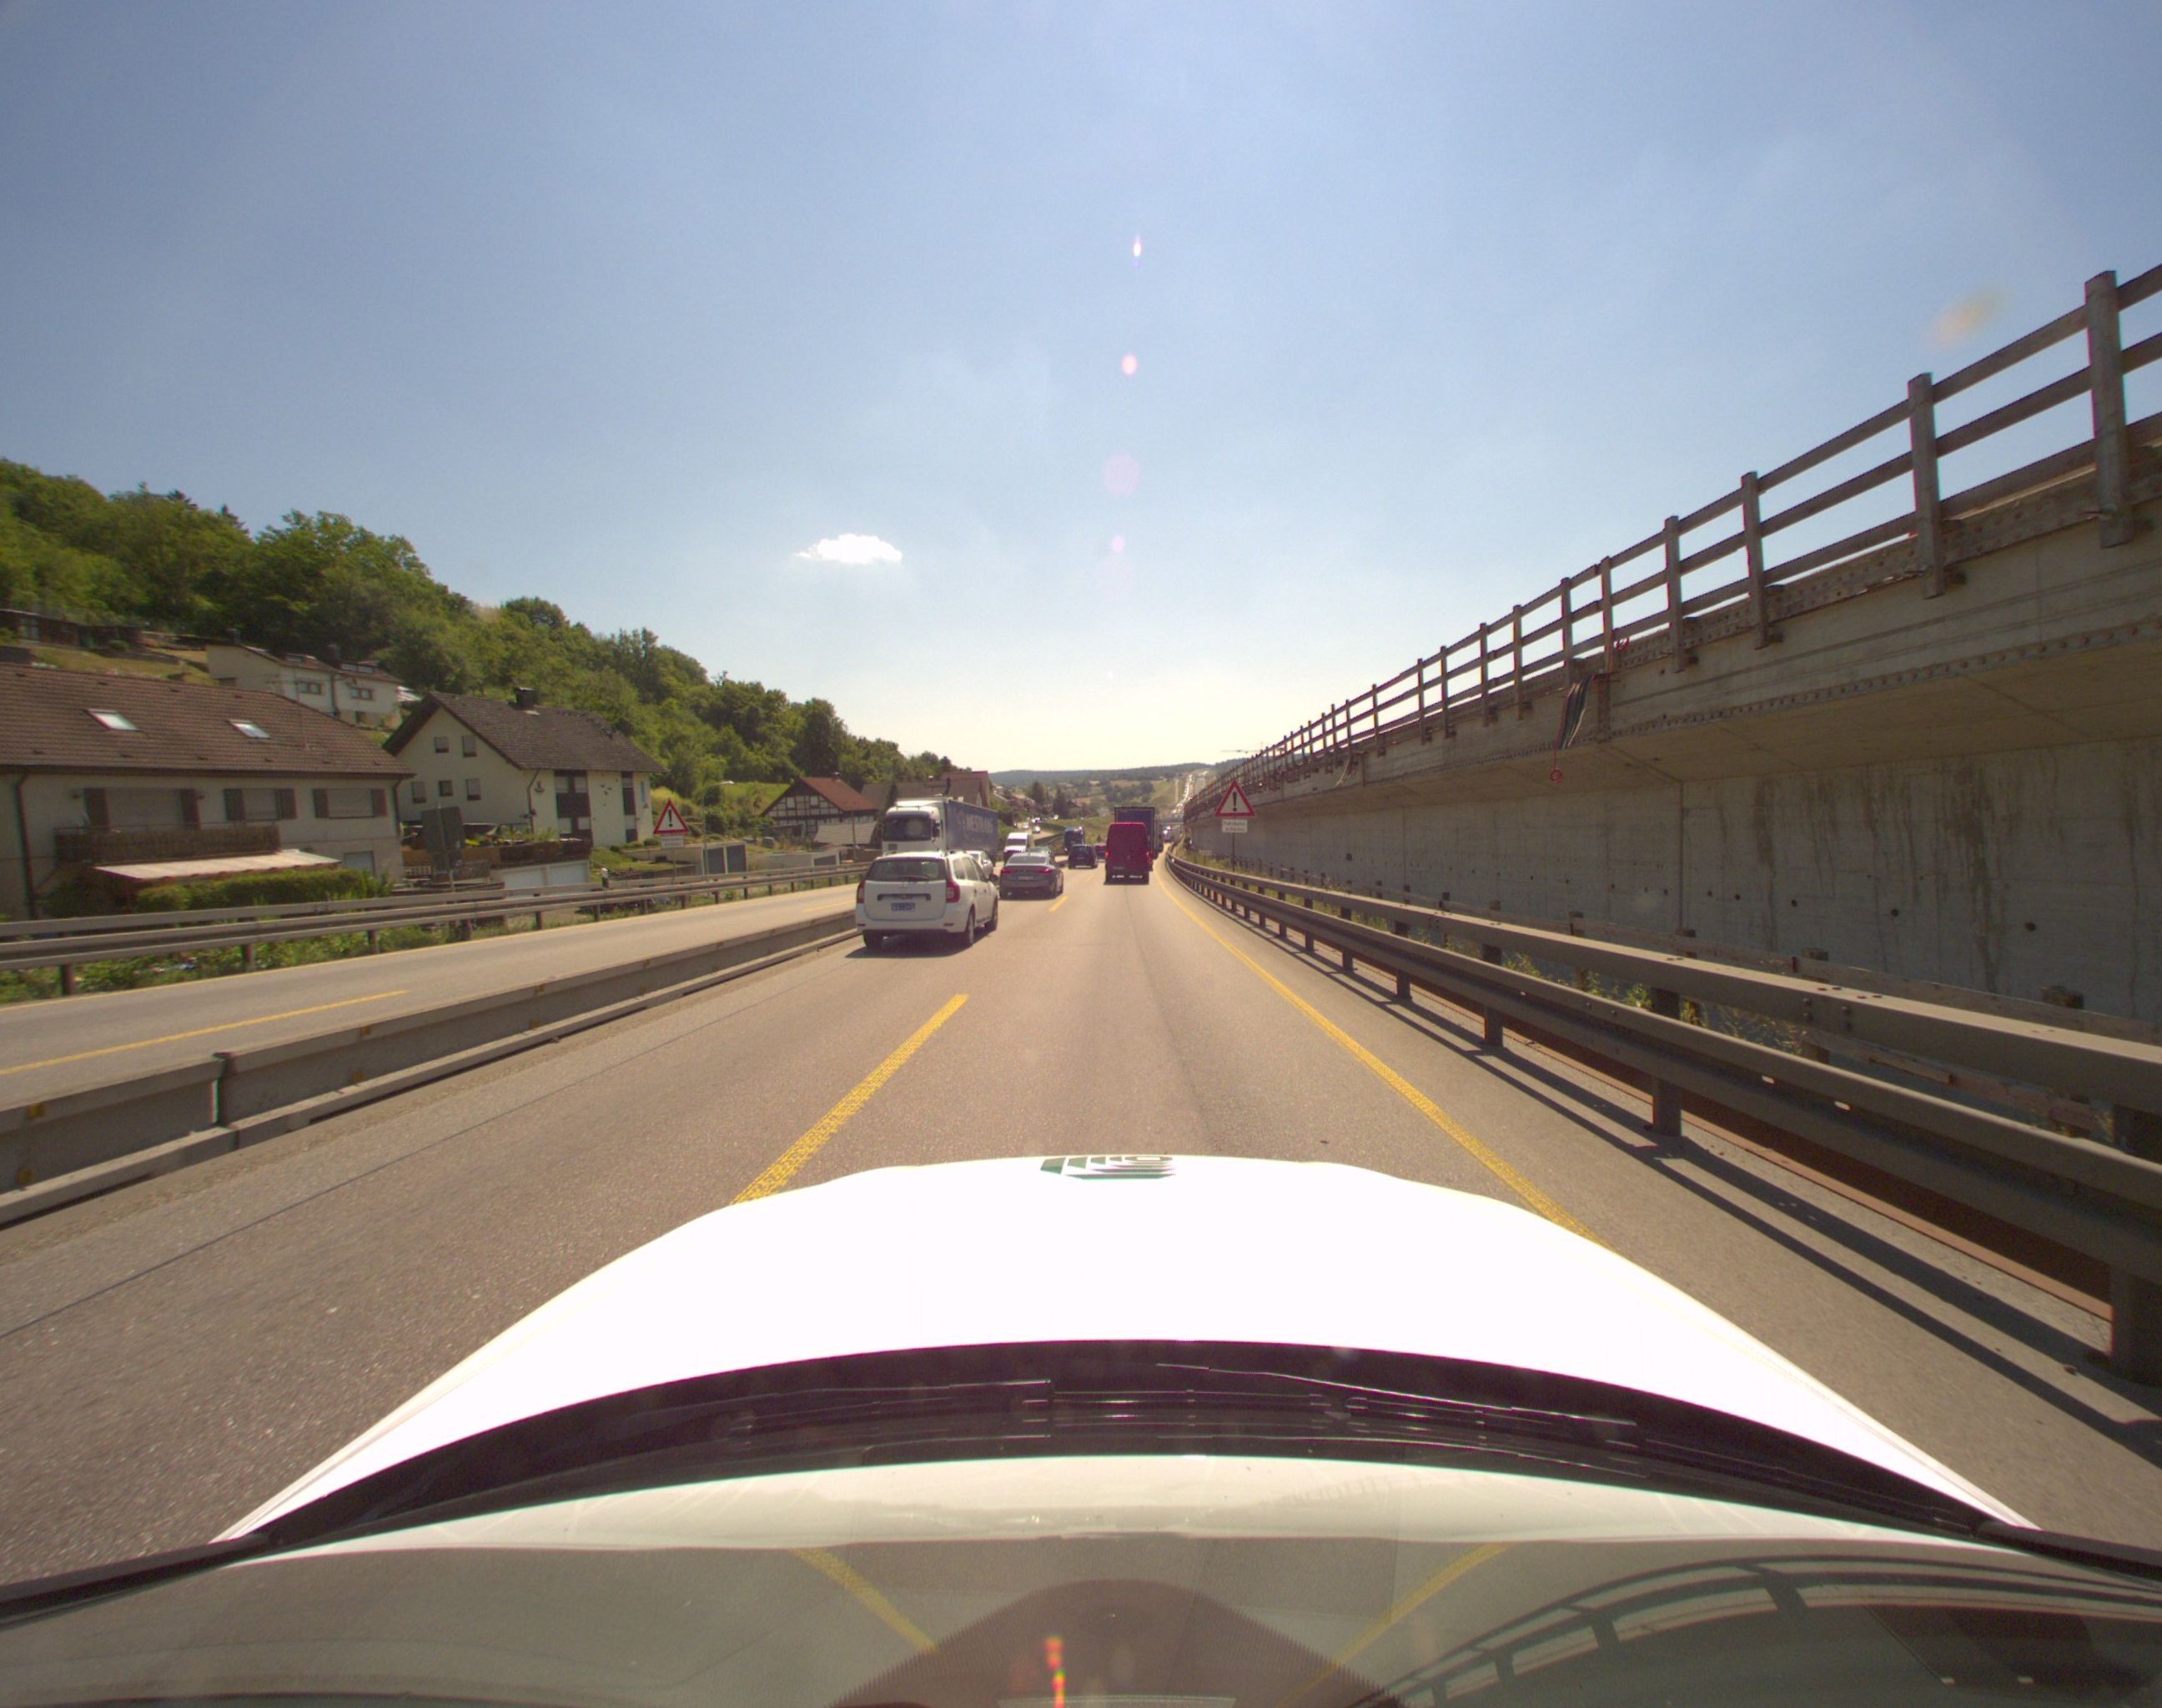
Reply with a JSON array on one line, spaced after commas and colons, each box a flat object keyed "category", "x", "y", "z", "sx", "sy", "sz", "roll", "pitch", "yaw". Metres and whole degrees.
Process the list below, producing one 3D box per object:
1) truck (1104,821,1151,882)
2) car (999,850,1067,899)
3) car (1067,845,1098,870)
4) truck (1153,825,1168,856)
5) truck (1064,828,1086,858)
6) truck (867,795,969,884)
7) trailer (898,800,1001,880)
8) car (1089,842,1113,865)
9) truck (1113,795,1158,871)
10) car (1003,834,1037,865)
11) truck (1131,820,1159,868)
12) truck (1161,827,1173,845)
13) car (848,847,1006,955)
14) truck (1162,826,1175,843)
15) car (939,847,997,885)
[{"category": "truck", "x": 2.121, "y": -0.092, "z": 37.052, "sx": 1.985, "sy": 2.578, "sz": 4.003, "roll": -1, "pitch": -1, "yaw": 3}, {"category": "car", "x": -1.490, "y": 0.630, "z": 26.495, "sx": 1.787, "sy": 1.485, "sz": 4.052, "roll": 0, "pitch": 0, "yaw": 2}, {"category": "car", "x": 0.149, "y": 0.230, "z": 55.458, "sx": 1.802, "sy": 1.608, "sz": 3.723, "roll": -1, "pitch": -1, "yaw": 4}, {"category": "truck", "x": 11.456, "y": -1.909, "z": 117.318, "sx": 1.983, "sy": 4.381, "sz": 4.007, "roll": -1, "pitch": -1, "yaw": 7}, {"category": "truck", "x": -0.834, "y": -1.455, "z": 112.699, "sx": 2.496, "sy": 3.965, "sz": 5.183, "roll": -1, "pitch": -1, "yaw": 6}, {"category": "truck", "x": -8.000, "y": -0.704, "z": 40.964, "sx": 3.120, "sy": 4.079, "sz": 6.889, "roll": -1, "pitch": 1, "yaw": 5}, {"category": "trailer", "x": -7.406, "y": -0.805, "z": 48.208, "sx": 3.120, "sy": 4.079, "sz": 11.836, "roll": -1, "pitch": 1, "yaw": 5}, {"category": "car", "x": 1.734, "y": -0.013, "z": 68.800, "sx": 1.721, "sy": 1.838, "sz": 4.006, "roll": -1, "pitch": -1, "yaw": 5}, {"category": "truck", "x": 3.875, "y": -1.275, "z": 56.487, "sx": 2.773, "sy": 4.816, "sz": 9.698, "roll": -1, "pitch": -1, "yaw": 5}, {"category": "car", "x": -5.356, "y": -0.431, "z": 72.150, "sx": 1.995, "sy": 2.603, "sz": 5.989, "roll": -1, "pitch": 1, "yaw": 6}, {"category": "truck", "x": 6.829, "y": -0.944, "z": 86.234, "sx": 2.773, "sy": 4.816, "sz": 9.698, "roll": -1, "pitch": -1, "yaw": 5}, {"category": "truck", "x": 23.232, "y": -4.771, "z": 219.092, "sx": 3.053, "sy": 4.381, "sz": 8.573, "roll": -1, "pitch": -1, "yaw": 7}, {"category": "car", "x": -2.460, "y": 0.702, "z": 14.059, "sx": 1.645, "sy": 1.483, "sz": 4.269, "roll": -3, "pitch": 0, "yaw": 3}, {"category": "truck", "x": 25.830, "y": -5.716, "z": 240.500, "sx": 3.449, "sy": 4.381, "sz": 8.573, "roll": -1, "pitch": -1, "yaw": 7}, {"category": "car", "x": -4.812, "y": 0.472, "z": 35.228, "sx": 1.664, "sy": 1.535, "sz": 4.194, "roll": -1, "pitch": 1, "yaw": 3}]
